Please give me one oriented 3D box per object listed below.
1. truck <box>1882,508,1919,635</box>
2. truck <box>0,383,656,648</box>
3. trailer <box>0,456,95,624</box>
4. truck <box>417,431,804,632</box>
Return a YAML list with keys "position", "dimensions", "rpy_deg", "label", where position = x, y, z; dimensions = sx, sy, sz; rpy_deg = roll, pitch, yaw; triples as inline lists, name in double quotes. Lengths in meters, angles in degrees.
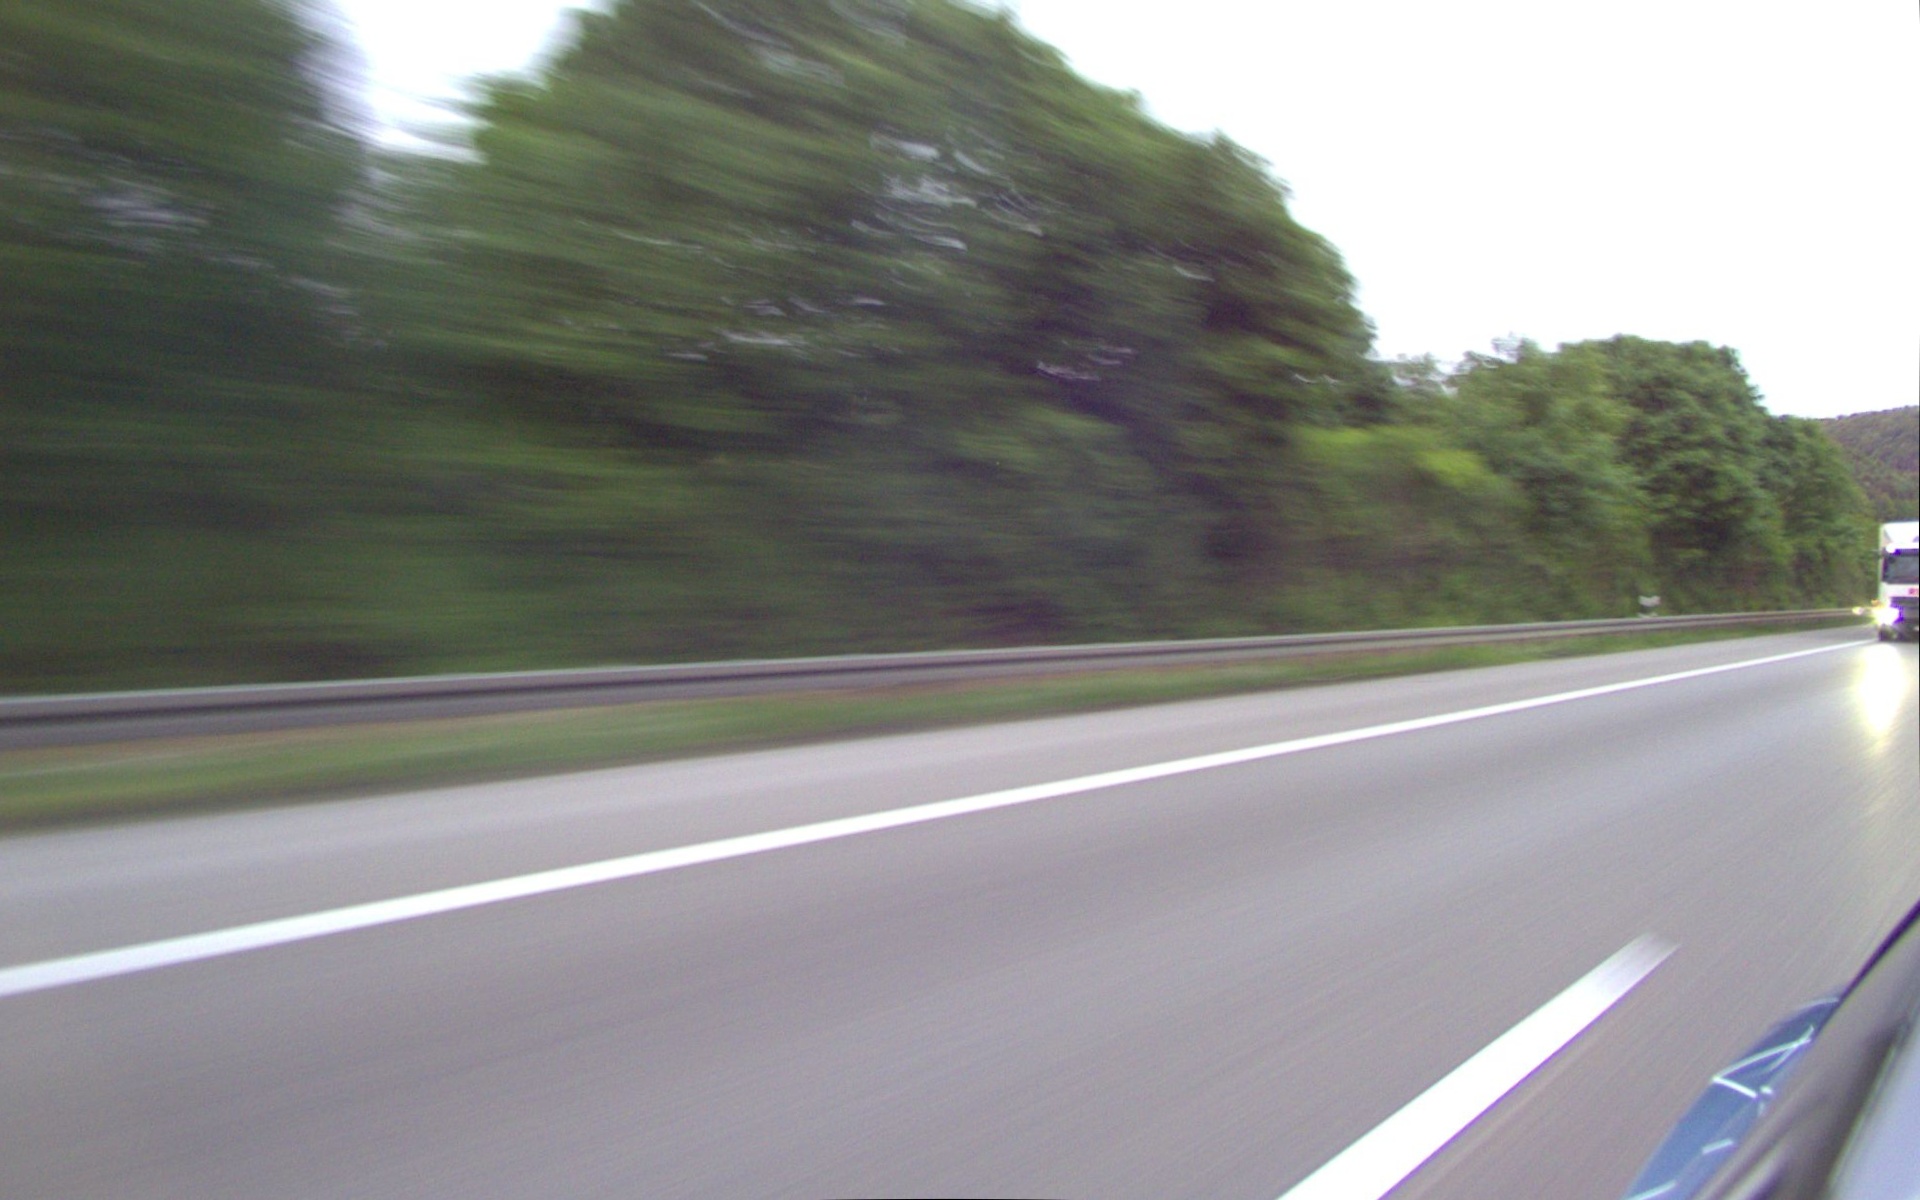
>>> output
- position: [33.382, -0.924, 33.730]
  dimensions: [10.204, 3.874, 2.622]
  rpy_deg: [-1, 2, -41]
  label: "truck"
- position: [-15.454, -1.454, 19.119]
  dimensions: [3.776, 4.281, 19.216]
  rpy_deg: [2, 2, 44]
  label: "truck"
- position: [-27.207, -1.409, 21.501]
  dimensions: [13.349, 3.964, 2.842]
  rpy_deg: [-1, 2, -43]
  label: "trailer"
- position: [-8.681, -1.586, 26.063]
  dimensions: [3.774, 4.281, 8.675]
  rpy_deg: [2, 2, 44]
  label: "truck"
